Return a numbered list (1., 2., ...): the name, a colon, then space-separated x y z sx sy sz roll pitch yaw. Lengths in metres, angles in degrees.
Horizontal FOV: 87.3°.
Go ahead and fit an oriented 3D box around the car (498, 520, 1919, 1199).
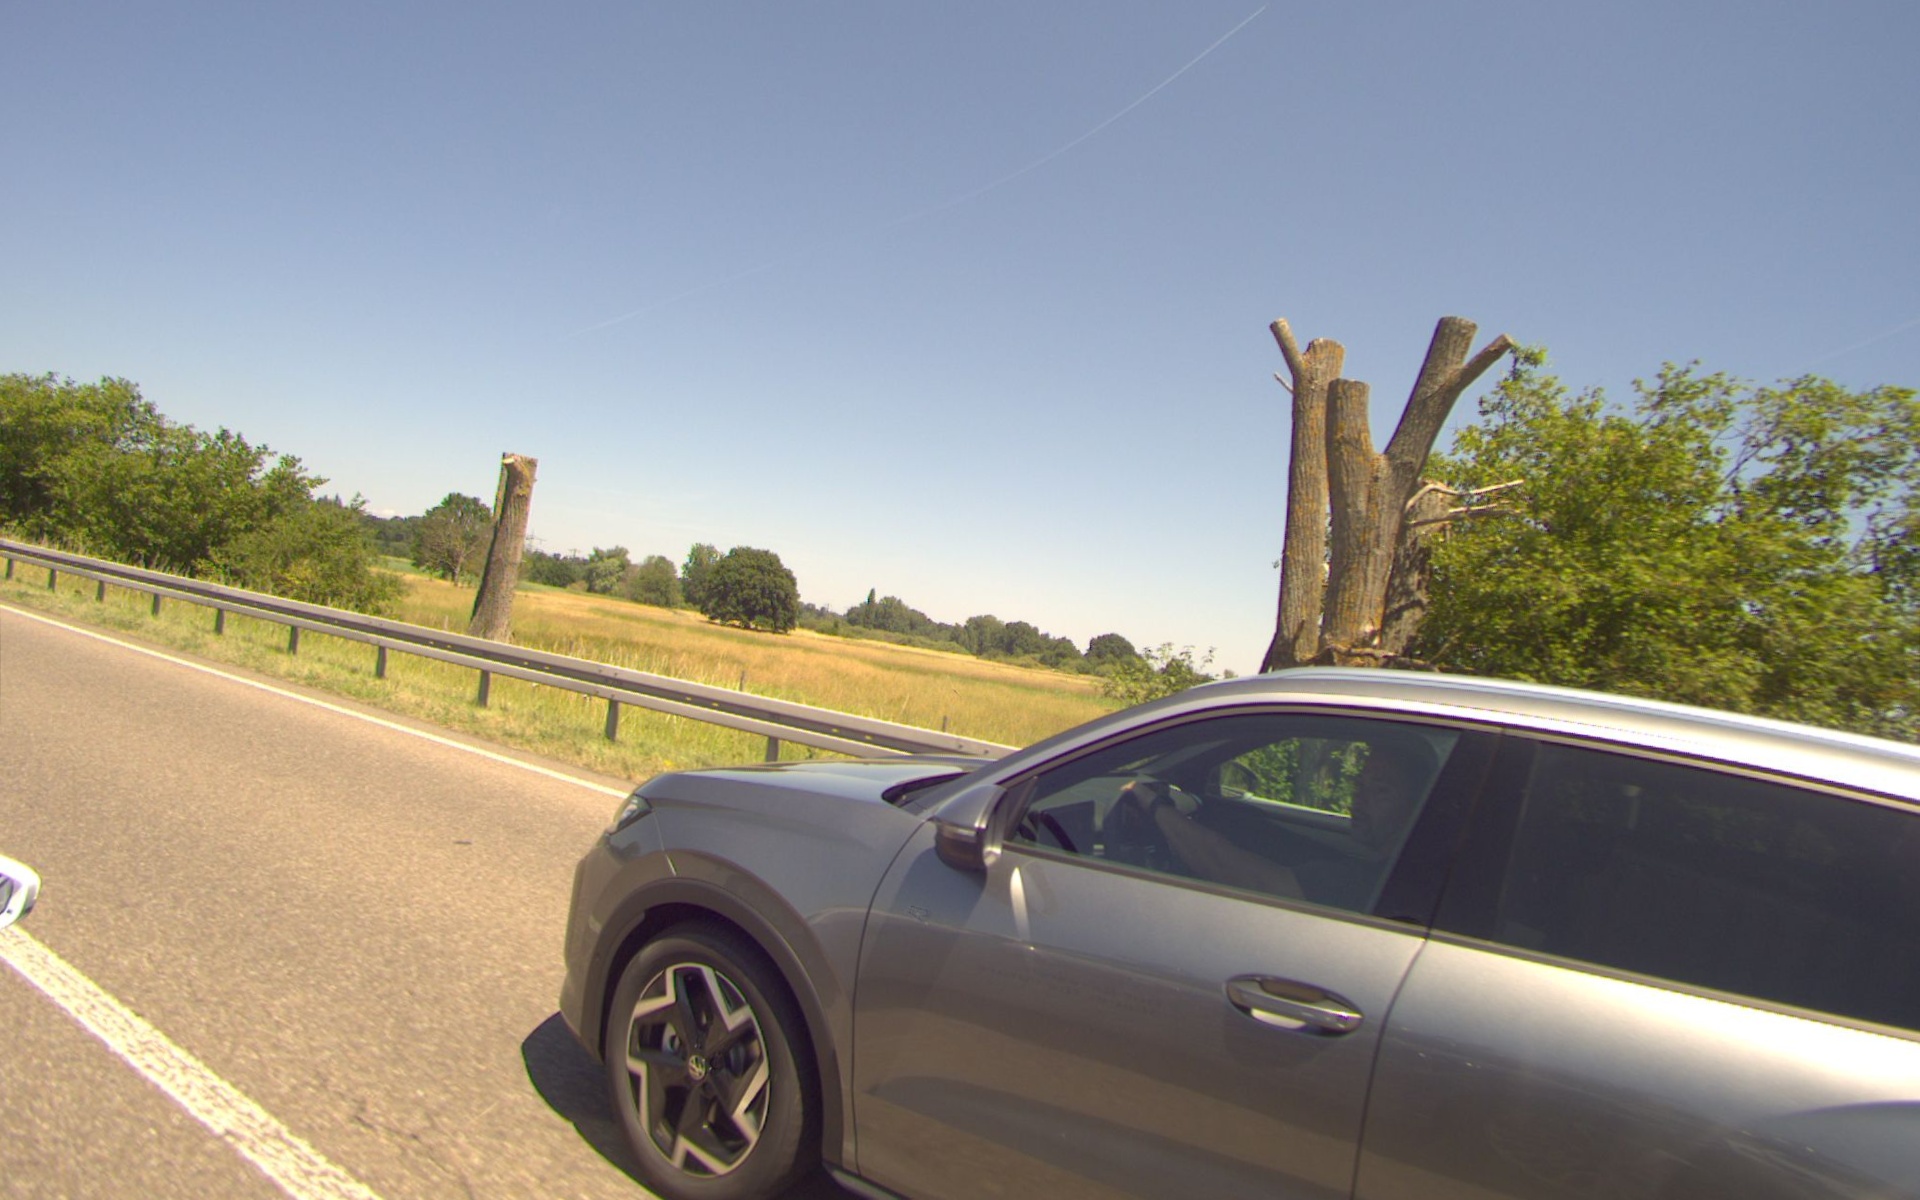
1. car: 1.015 0.871 2.418 3.951 1.571 1.789 7 -1 31
